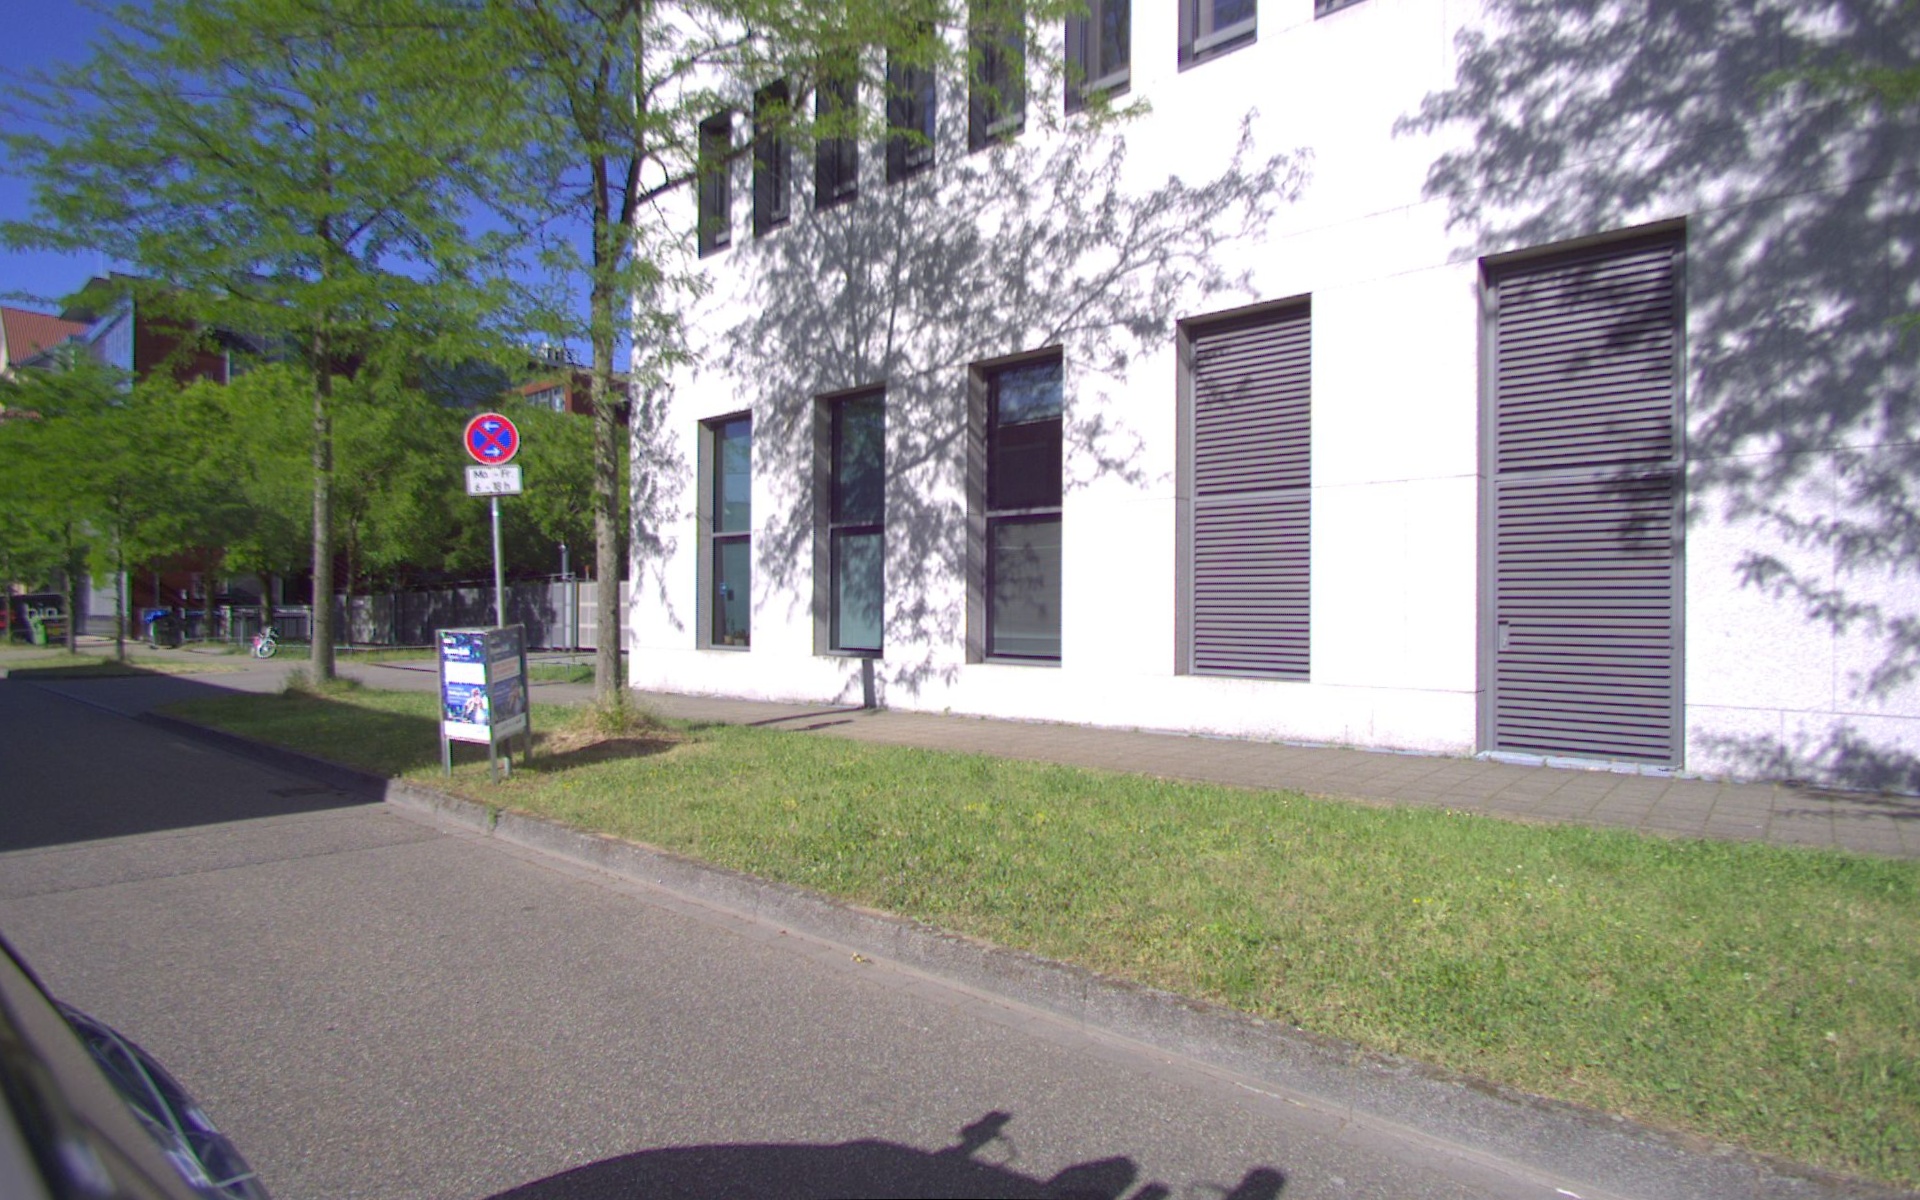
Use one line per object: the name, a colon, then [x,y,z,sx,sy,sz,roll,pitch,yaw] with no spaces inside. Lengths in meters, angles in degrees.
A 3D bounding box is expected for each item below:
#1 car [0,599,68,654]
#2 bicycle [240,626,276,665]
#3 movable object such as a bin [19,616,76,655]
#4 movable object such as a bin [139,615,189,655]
car: [-46.710,1.298,48.721,1.985,2.560,5.420,-1,1,40]
bicycle: [-22.509,1.456,32.437,1.727,1.201,0.594,-1,-1,42]
movable object such as a bin: [-39.231,1.513,43.515,1.342,1.580,1.508,-1,0,32]
movable object such as a bin: [-32.688,1.405,41.554,1.501,1.580,1.348,0,-1,-44]
